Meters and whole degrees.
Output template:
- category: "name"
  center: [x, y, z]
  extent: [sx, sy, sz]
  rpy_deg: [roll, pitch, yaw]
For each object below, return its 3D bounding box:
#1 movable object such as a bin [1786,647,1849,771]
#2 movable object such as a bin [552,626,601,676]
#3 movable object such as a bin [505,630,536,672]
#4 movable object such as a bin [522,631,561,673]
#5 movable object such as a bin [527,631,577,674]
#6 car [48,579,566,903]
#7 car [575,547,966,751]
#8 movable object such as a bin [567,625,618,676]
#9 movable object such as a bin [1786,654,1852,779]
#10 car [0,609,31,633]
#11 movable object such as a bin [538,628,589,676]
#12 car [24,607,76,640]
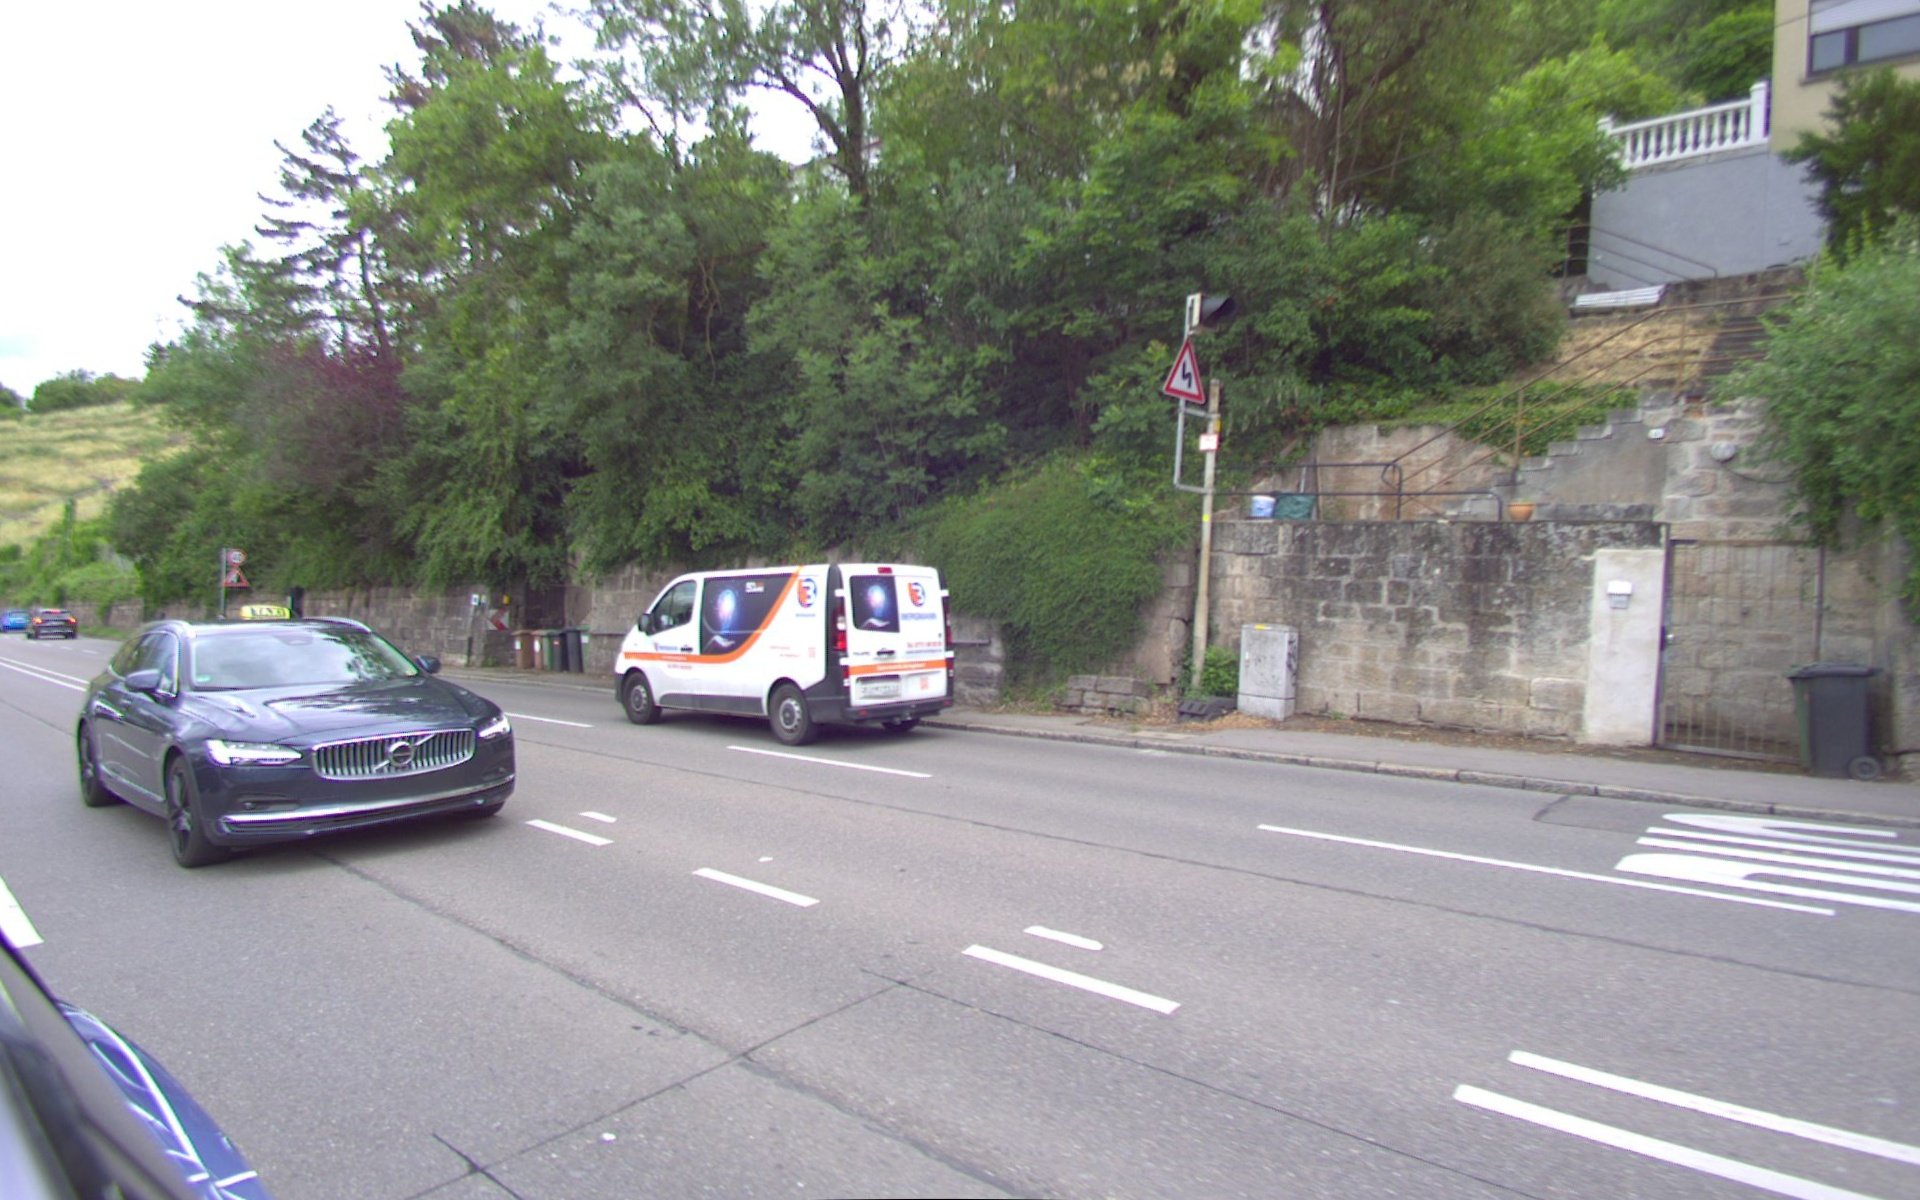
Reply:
- category: "movable object such as a bin"
  center: [7.296, 0.911, 8.623]
  extent: [0.367, 0.979, 0.473]
  rpy_deg: [-1, 1, 37]
- category: "movable object such as a bin"
  center: [-8.466, 1.122, 22.359]
  extent: [0.717, 1.070, 0.764]
  rpy_deg: [-1, -1, 38]
- category: "movable object such as a bin"
  center: [-10.449, 1.202, 24.055]
  extent: [0.473, 0.973, 0.512]
  rpy_deg: [-1, -1, 38]
- category: "movable object such as a bin"
  center: [-9.854, 1.216, 23.814]
  extent: [0.542, 0.973, 0.667]
  rpy_deg: [-1, -1, 38]
- category: "movable object such as a bin"
  center: [-9.422, 1.200, 23.371]
  extent: [0.593, 0.953, 0.907]
  rpy_deg: [-1, -1, 38]
- category: "car"
  center: [-5.012, 0.709, 7.389]
  extent: [5.025, 1.588, 1.914]
  rpy_deg: [-1, 1, 42]
- category: "car"
  center: [-2.554, 0.525, 12.546]
  extent: [5.354, 2.020, 1.901]
  rpy_deg: [-1, -1, 42]
- category: "movable object such as a bin"
  center: [-7.931, 1.082, 21.851]
  extent: [0.708, 1.079, 0.780]
  rpy_deg: [-2, -2, 38]
- category: "movable object such as a bin"
  center: [6.979, 0.932, 8.233]
  extent: [0.365, 0.943, 0.474]
  rpy_deg: [-1, 1, 37]
- category: "car"
  center: [-61.388, 1.356, 65.456]
  extent: [3.523, 1.472, 1.567]
  rpy_deg: [0, 1, 42]
- category: "movable object such as a bin"
  center: [-8.971, 1.173, 22.936]
  extent: [0.620, 1.042, 0.890]
  rpy_deg: [-1, -1, 38]
- category: "car"
  center: [-49.410, 1.228, 54.937]
  extent: [4.470, 1.710, 1.795]
  rpy_deg: [-1, 0, 44]
